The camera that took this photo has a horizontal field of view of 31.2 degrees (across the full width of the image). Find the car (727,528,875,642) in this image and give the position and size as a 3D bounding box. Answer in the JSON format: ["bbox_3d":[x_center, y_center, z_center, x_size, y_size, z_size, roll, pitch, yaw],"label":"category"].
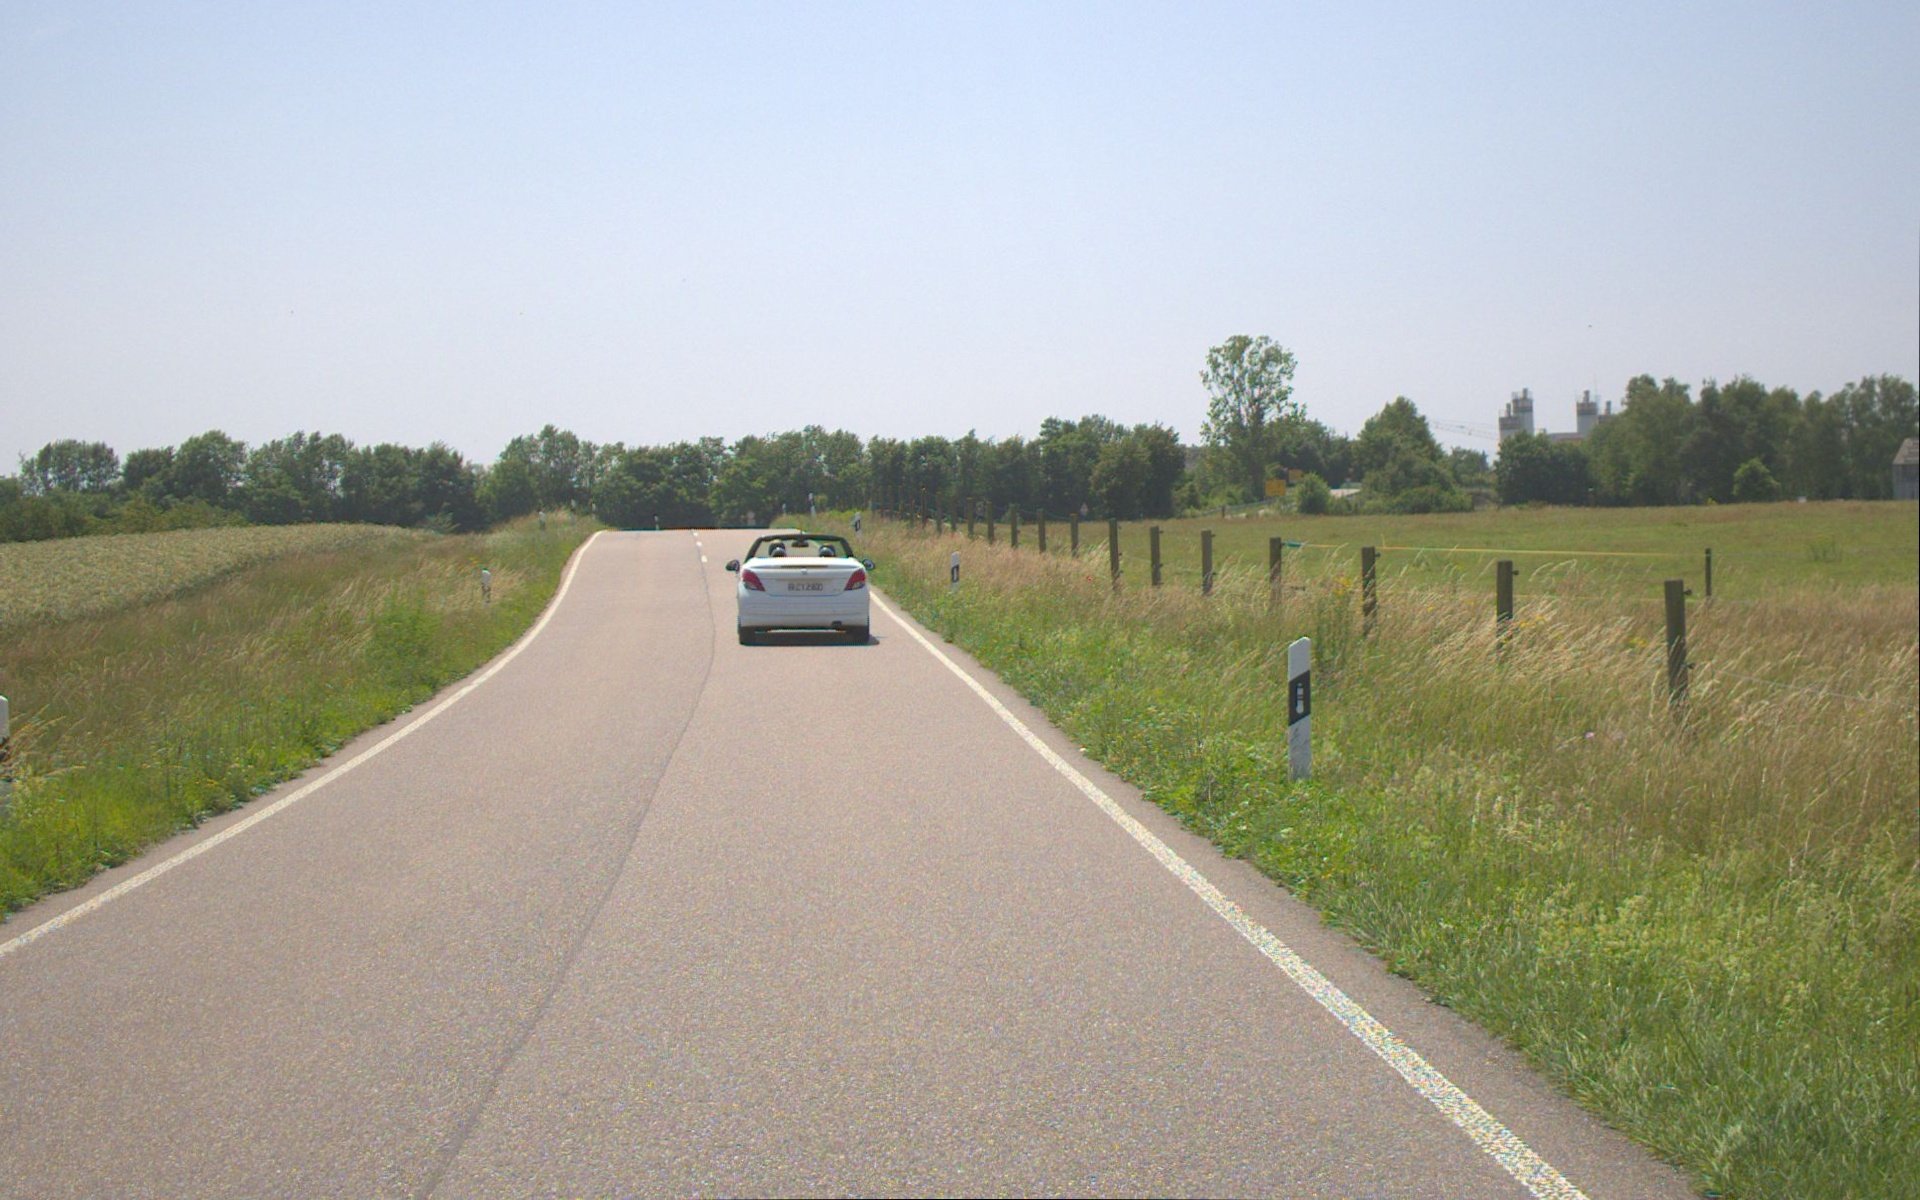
[{"bbox_3d":[-2.143,-0.227,45.329,1.850,1.374,4.001,0,2,-4],"label":"car"}]
